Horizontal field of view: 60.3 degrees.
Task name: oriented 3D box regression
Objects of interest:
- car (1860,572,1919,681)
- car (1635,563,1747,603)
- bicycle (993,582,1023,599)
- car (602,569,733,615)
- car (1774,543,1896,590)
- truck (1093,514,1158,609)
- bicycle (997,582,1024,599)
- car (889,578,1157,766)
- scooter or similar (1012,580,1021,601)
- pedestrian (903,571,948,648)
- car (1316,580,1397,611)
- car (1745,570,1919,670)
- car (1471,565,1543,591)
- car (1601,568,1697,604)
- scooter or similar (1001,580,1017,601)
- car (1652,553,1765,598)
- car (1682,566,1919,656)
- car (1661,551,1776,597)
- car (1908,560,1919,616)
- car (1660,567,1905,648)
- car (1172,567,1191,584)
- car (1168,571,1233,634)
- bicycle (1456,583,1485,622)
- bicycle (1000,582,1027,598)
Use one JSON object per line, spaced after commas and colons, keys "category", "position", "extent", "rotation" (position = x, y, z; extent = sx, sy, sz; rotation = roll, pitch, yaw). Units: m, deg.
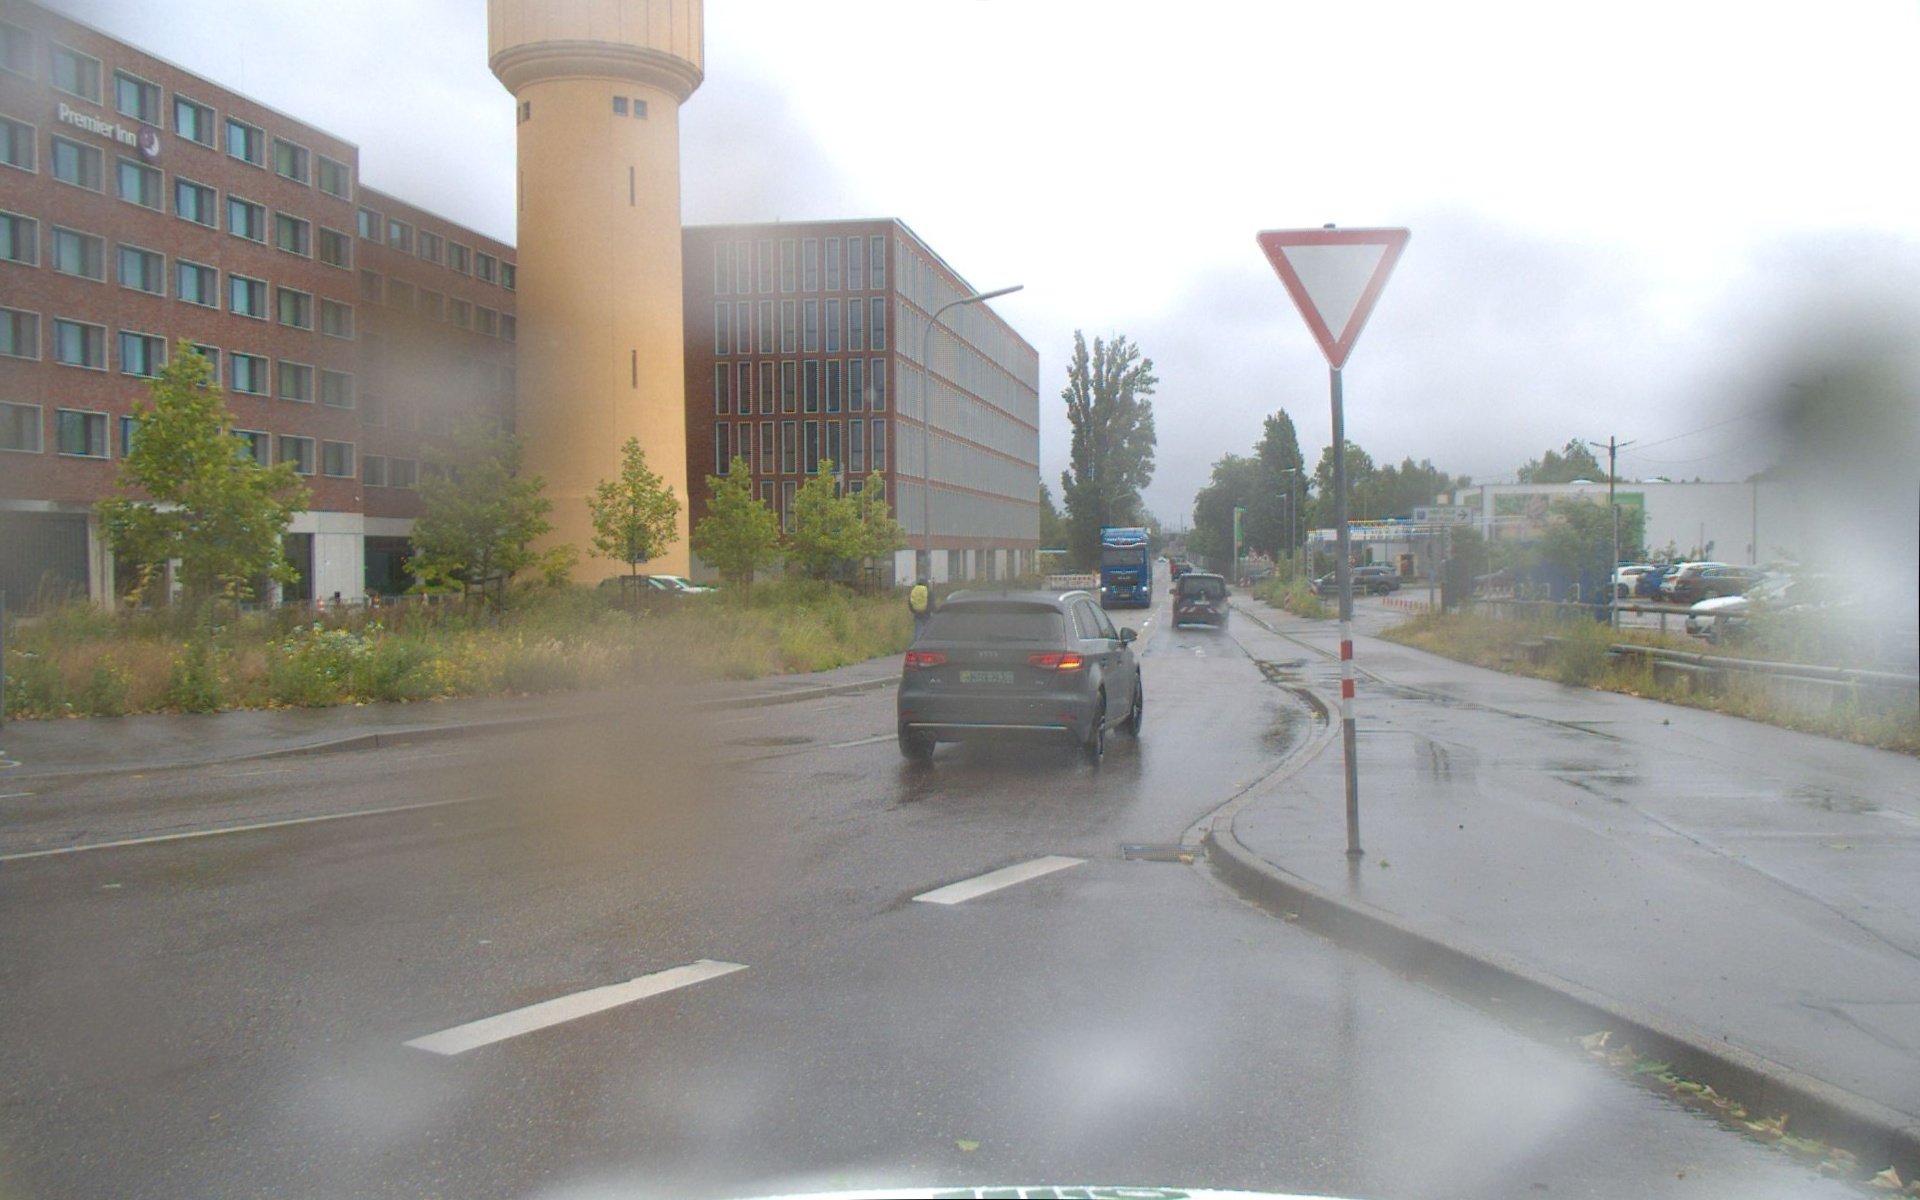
{"category": "car", "position": [14.503, 0.378, 22.256], "extent": [3.813, 1.419, 1.780], "rotation": [1, 0, 5]}
{"category": "car", "position": [30.808, -0.703, 69.804], "extent": [3.958, 1.510, 1.929], "rotation": [-2, -1, 10]}
{"category": "bicycle", "position": [3.237, -0.622, 111.086], "extent": [1.907, 1.096, 0.621], "rotation": [2, 1, 6]}
{"category": "car", "position": [-10.869, -0.298, 61.624], "extent": [4.426, 1.670, 2.001], "rotation": [0, 0, 5]}
{"category": "car", "position": [35.709, -1.350, 67.567], "extent": [3.974, 1.688, 1.833], "rotation": [-2, -1, 6]}
{"category": "truck", "position": [8.613, -1.972, 85.968], "extent": [3.224, 4.735, 6.037], "rotation": [0, 0, 6]}
{"category": "bicycle", "position": [3.446, -0.635, 112.625], "extent": [1.820, 1.096, 0.545], "rotation": [2, 1, 6]}
{"category": "car", "position": [0.738, 0.545, 15.406], "extent": [1.854, 1.482, 4.231], "rotation": [1, 1, 11]}
{"category": "scooter or similar", "position": [3.332, -0.568, 98.067], "extent": [0.456, 1.251, 1.322], "rotation": [-1, 1, 5]}
{"category": "pedestrian", "position": [-0.791, 0.220, 38.181], "extent": [0.889, 1.748, 1.027], "rotation": [0, 0, 8]}
{"category": "car", "position": [23.581, -0.253, 98.495], "extent": [4.581, 1.765, 2.130], "rotation": [-1, -1, 12]}
{"category": "car", "position": [14.232, 0.314, 25.074], "extent": [3.813, 1.448, 1.780], "rotation": [1, 0, 5]}
{"category": "car", "position": [33.247, -1.339, 100.620], "extent": [3.902, 1.511, 2.002], "rotation": [1, 0, 8]}
{"category": "car", "position": [32.196, -0.626, 77.401], "extent": [3.748, 1.510, 1.929], "rotation": [-2, -1, 10]}
{"category": "scooter or similar", "position": [2.956, -0.570, 99.458], "extent": [0.459, 1.251, 1.313], "rotation": [-1, 1, -21]}
{"category": "car", "position": [30.319, -0.966, 67.092], "extent": [3.819, 1.611, 1.788], "rotation": [-2, -1, 10]}
{"category": "car", "position": [14.741, 0.187, 28.470], "extent": [3.813, 1.448, 1.907], "rotation": [1, 0, 5]}
{"category": "car", "position": [29.526, -1.000, 64.460], "extent": [3.694, 1.611, 1.788], "rotation": [-2, -1, 10]}
{"category": "car", "position": [27.739, -0.367, 44.111], "extent": [3.867, 1.516, 1.779], "rotation": [-1, -1, 10]}
{"category": "car", "position": [15.421, 0.138, 31.185], "extent": [3.691, 1.418, 1.907], "rotation": [1, 0, 5]}
{"category": "car", "position": [22.214, -2.464, 165.800], "extent": [1.693, 1.716, 3.901], "rotation": [0, 0, 10]}
{"category": "car", "position": [7.785, 0.057, 53.841], "extent": [1.951, 1.943, 4.204], "rotation": [0, 0, 6]}
{"category": "bicycle", "position": [14.816, 0.058, 48.010], "extent": [0.497, 1.103, 1.700], "rotation": [0, 1, 28]}
{"category": "bicycle", "position": [3.719, -0.692, 114.316], "extent": [1.820, 1.096, 0.545], "rotation": [2, 1, 6]}
